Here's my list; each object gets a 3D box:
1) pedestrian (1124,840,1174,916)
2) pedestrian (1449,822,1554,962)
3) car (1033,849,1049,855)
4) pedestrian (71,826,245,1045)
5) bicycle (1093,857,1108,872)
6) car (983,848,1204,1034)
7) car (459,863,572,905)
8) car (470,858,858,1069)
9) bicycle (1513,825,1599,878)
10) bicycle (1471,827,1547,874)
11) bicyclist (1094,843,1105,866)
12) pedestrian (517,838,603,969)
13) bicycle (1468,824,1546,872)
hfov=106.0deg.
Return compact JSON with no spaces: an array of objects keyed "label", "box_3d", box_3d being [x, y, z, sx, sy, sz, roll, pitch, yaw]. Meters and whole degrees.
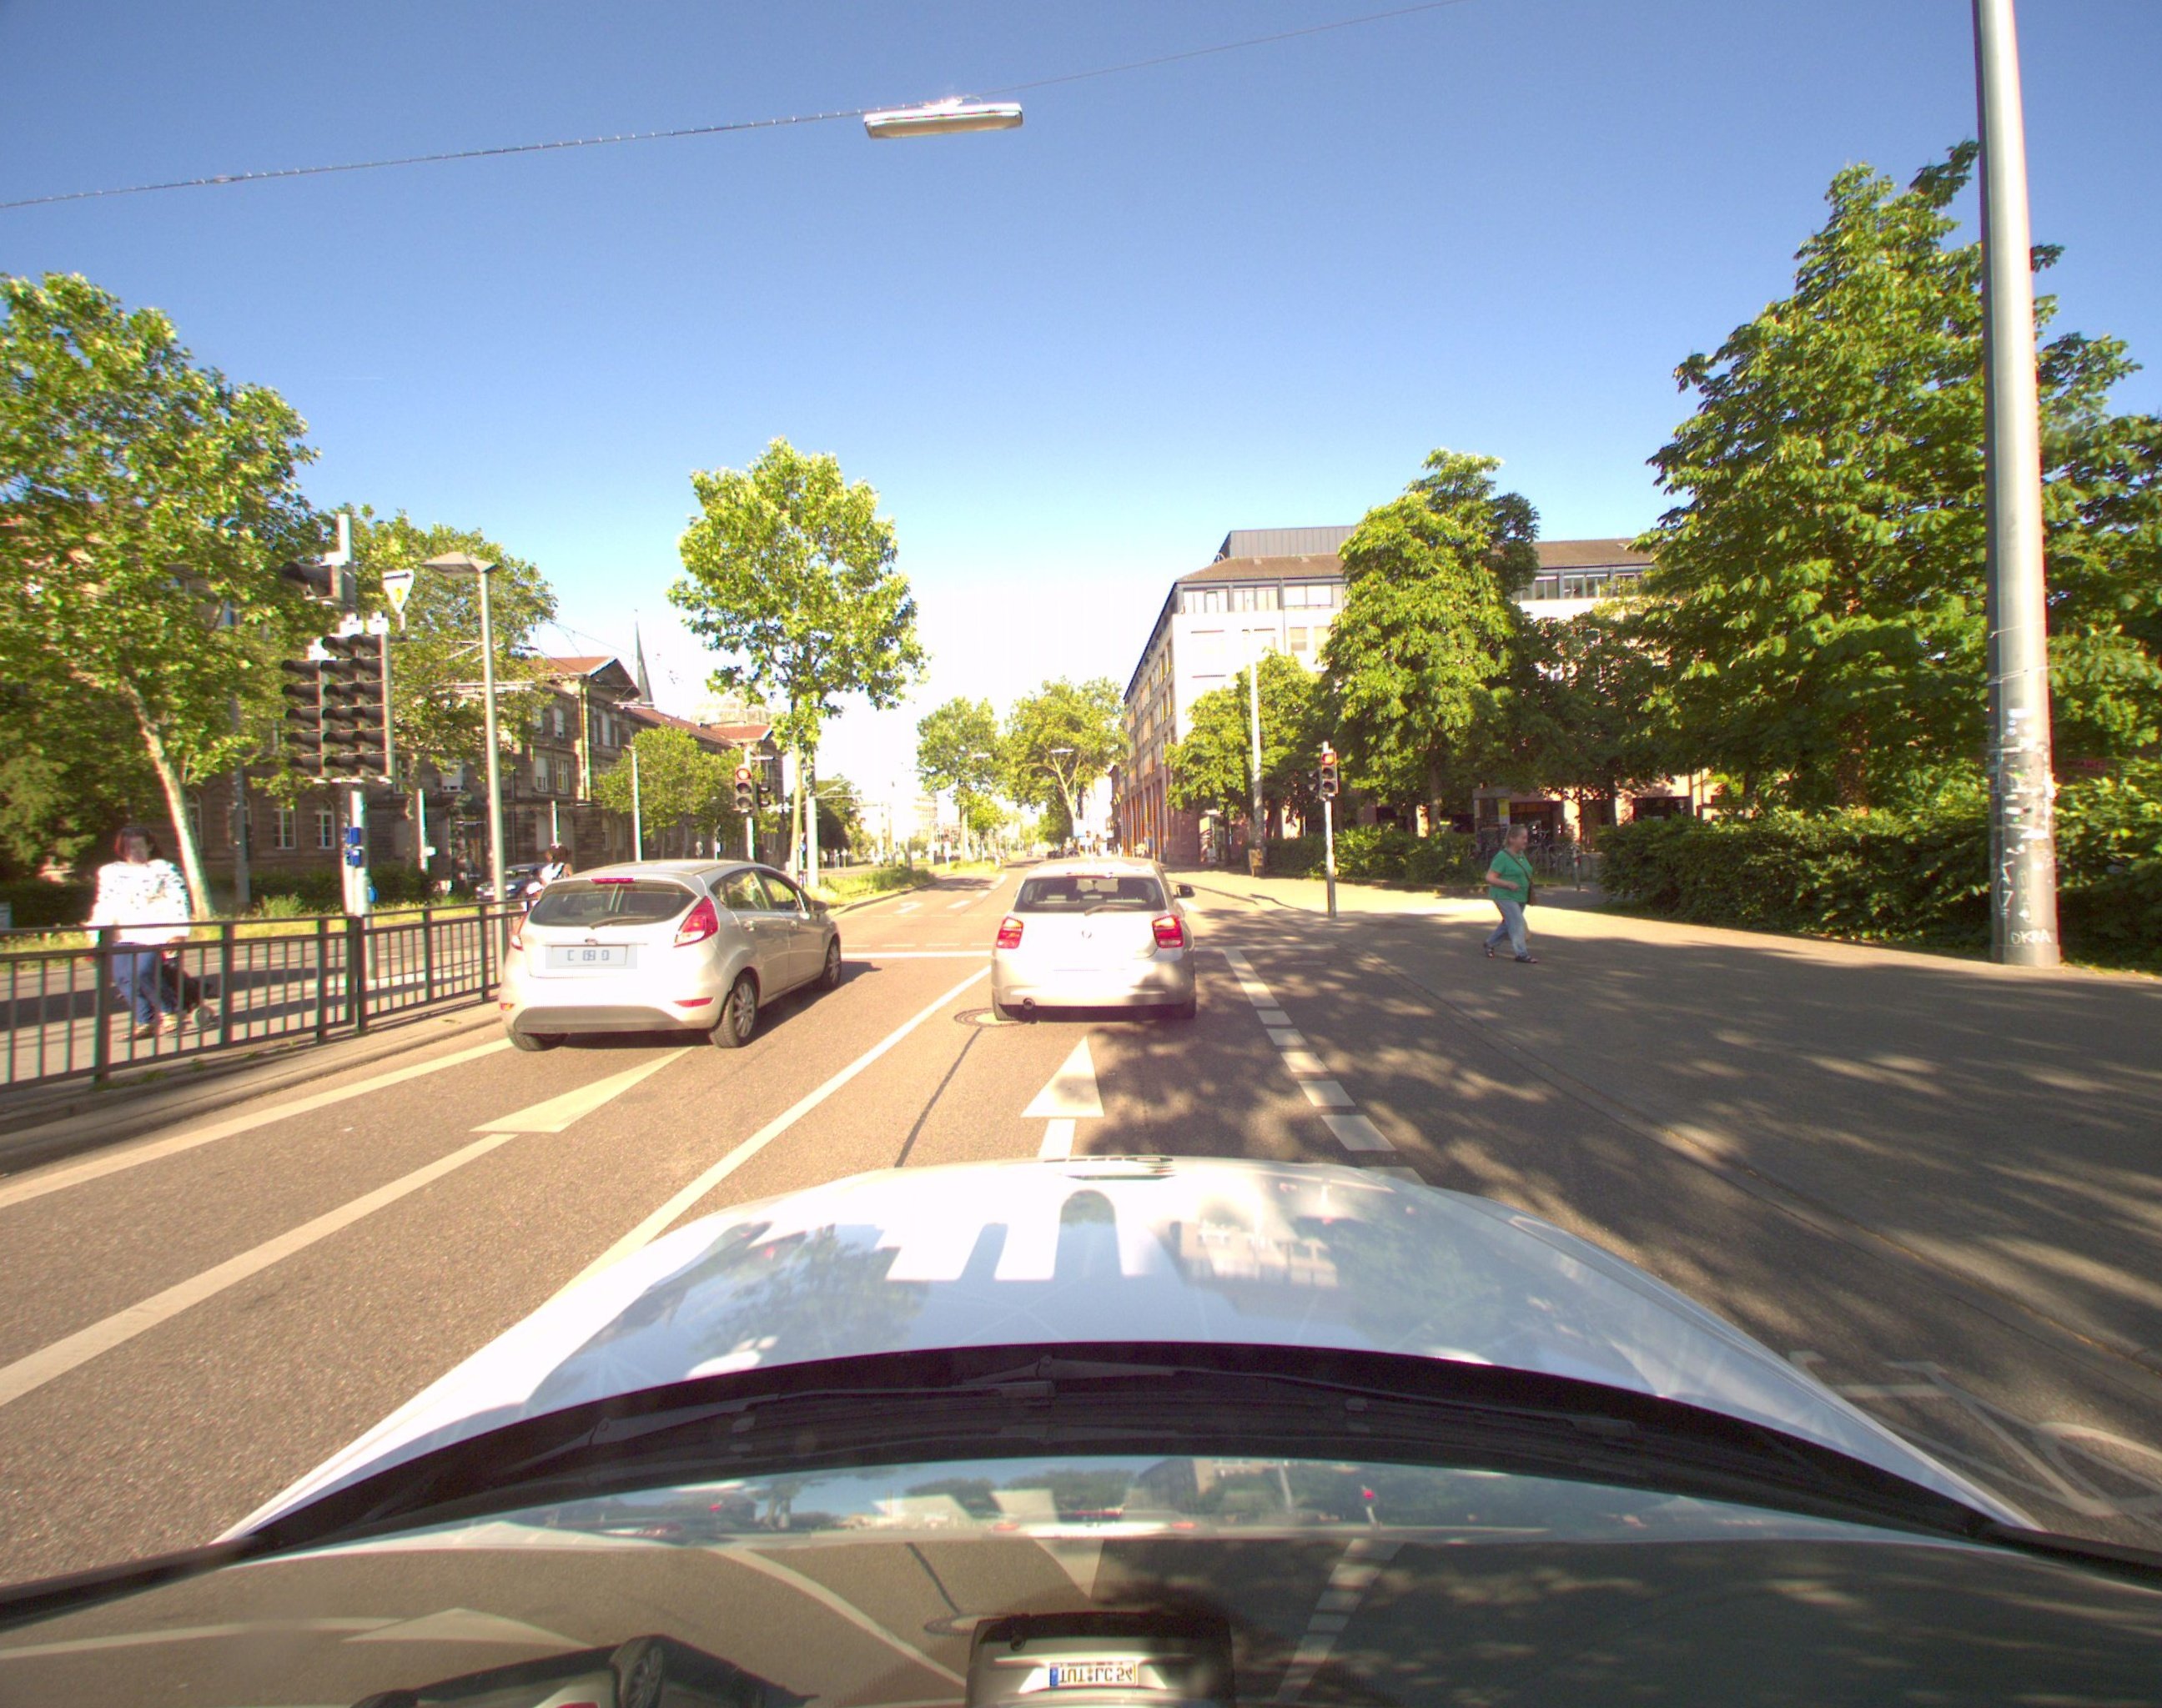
[{"label":"pedestrian","box_3d":[1.500,0.519,17.992,0.941,1.629,0.626,-1,0,-11]},{"label":"pedestrian","box_3d":[5.039,0.432,9.766,0.742,1.575,0.822,-3,0,-39]},{"label":"car","box_3d":[-10.659,-0.485,215.628,2.012,1.486,3.951,-2,0,-44]},{"label":"pedestrian","box_3d":[-7.310,0.621,6.484,0.639,1.619,0.640,-2,-2,-6]},{"label":"bicycle","box_3d":[1.457,0.745,60.555,0.827,1.041,1.878,-3,0,7]},{"label":"car","box_3d":[0.267,0.674,8.303,1.721,1.390,3.846,-1,1,5]},{"label":"car","box_3d":[-24.596,1.264,35.623,1.986,1.625,4.002,-2,0,2]},{"label":"car","box_3d":[-3.371,0.758,7.430,1.655,1.409,3.631,-1,0,0]},{"label":"bicycle","box_3d":[13.226,-0.071,22.716,1.989,1.314,0.574,-4,0,0]},{"label":"bicycle","box_3d":[13.301,-0.103,25.310,1.989,1.314,0.574,-4,0,0]},{"label":"bicyclist","box_3d":[1.409,0.055,60.504,0.655,1.657,0.766,-3,0,7]},{"label":"pedestrian","box_3d":[-6.527,0.599,10.232,0.630,1.557,0.645,-2,0,-6]},{"label":"bicycle","box_3d":[12.905,-0.172,24.696,1.989,1.314,0.574,-4,0,0]}]
